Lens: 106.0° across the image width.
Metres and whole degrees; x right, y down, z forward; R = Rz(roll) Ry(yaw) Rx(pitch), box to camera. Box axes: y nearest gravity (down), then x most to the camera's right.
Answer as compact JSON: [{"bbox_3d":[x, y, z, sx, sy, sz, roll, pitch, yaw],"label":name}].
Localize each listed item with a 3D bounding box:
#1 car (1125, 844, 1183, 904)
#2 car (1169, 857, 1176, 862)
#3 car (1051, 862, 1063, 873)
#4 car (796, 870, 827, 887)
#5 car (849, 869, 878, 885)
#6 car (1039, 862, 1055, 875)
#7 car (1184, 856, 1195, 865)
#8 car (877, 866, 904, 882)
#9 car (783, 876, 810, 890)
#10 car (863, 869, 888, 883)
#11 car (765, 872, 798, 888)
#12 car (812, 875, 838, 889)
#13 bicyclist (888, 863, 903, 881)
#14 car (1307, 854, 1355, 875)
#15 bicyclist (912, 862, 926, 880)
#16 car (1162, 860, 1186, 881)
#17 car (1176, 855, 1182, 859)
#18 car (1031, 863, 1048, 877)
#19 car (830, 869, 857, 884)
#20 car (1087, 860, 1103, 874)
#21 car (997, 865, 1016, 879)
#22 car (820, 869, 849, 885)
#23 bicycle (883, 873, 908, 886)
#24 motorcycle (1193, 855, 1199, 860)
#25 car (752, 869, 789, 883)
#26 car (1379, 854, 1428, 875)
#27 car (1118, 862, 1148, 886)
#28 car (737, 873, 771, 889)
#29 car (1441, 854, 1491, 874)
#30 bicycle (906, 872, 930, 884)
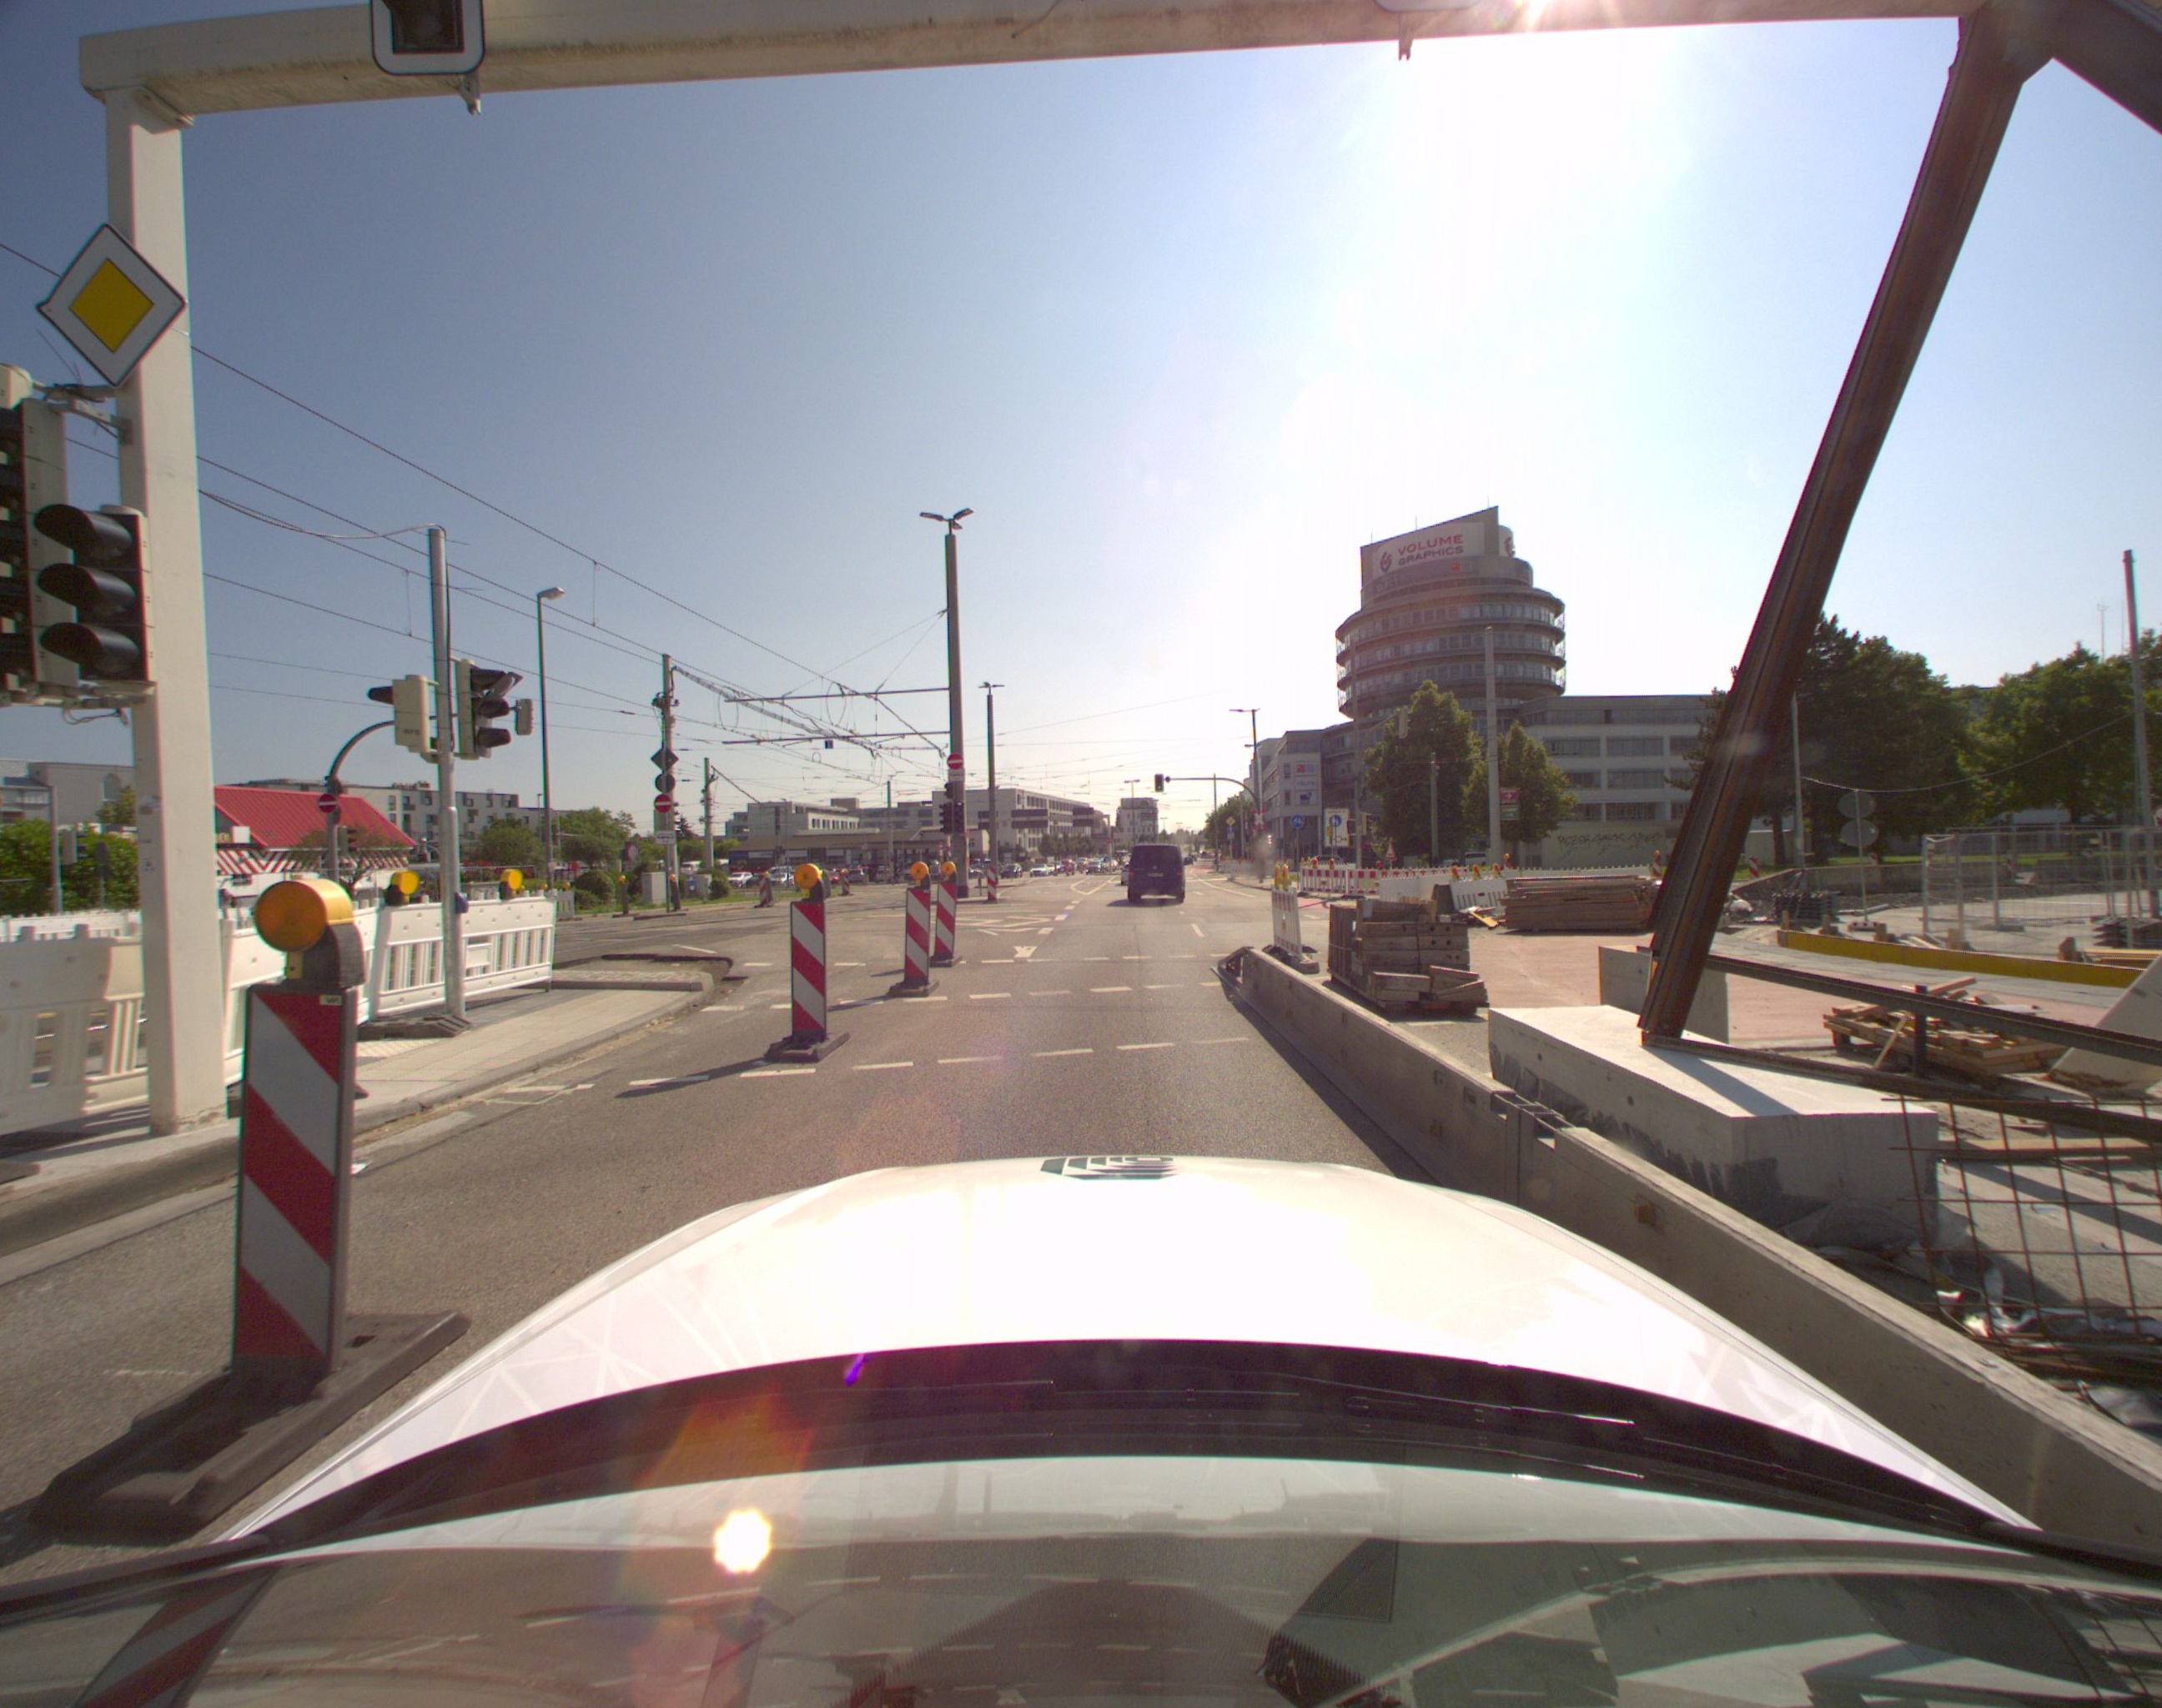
[{"bbox_3d":[2.516,0.631,28.390,1.879,1.934,4.005,0,1,4],"label":"car"},{"bbox_3d":[26.583,1.549,236.411,1.543,1.340,3.015,-1,0,0],"label":"car"},{"bbox_3d":[-3.574,2.043,121.480,1.742,1.486,3.999,-2,0,0],"label":"car"},{"bbox_3d":[-28.985,2.606,87.574,1.771,1.538,4.002,-3,0,2],"label":"car"},{"bbox_3d":[-23.133,2.417,86.684,1.771,1.538,4.002,-3,0,2],"label":"car"},{"bbox_3d":[-4.212,1.826,100.838,1.742,1.486,3.999,-2,0,0],"label":"car"},{"bbox_3d":[19.578,1.175,146.777,1.734,1.475,3.894,-1,0,9],"label":"car"},{"bbox_3d":[-20.581,2.157,88.010,1.770,1.538,4.002,-1,0,2],"label":"car"},{"bbox_3d":[-35.022,3.521,100.412,1.771,1.538,4.002,-3,0,2],"label":"car"},{"bbox_3d":[-24.041,2.525,95.561,1.770,1.538,4.002,-1,0,2],"label":"car"},{"bbox_3d":[-32.066,2.742,87.300,1.771,1.538,4.002,-3,0,2],"label":"car"},{"bbox_3d":[-31.689,3.446,100.906,1.771,1.538,4.002,-3,0,2],"label":"car"},{"bbox_3d":[-16.344,1.568,71.743,0.869,1.579,0.973,3,0,15],"label":"bicyclist"},{"bbox_3d":[22.514,0.917,73.406,3.800,1.797,1.682,0,1,1],"label":"car"},{"bbox_3d":[-14.720,1.520,73.928,0.869,1.579,0.973,3,0,15],"label":"bicyclist"},{"bbox_3d":[7.555,1.299,66.464,1.677,1.606,3.618,0,1,2],"label":"car"},{"bbox_3d":[30.371,0.891,252.173,1.543,1.340,3.015,-1,0,0],"label":"car"},{"bbox_3d":[-4.830,1.860,94.364,1.742,1.481,3.999,-2,0,0],"label":"car"},{"bbox_3d":[-27.865,2.644,95.709,1.771,1.538,4.002,-3,0,2],"label":"car"},{"bbox_3d":[1.551,1.445,92.083,1.742,1.530,3.999,-2,0,0],"label":"car"},{"bbox_3d":[-8.626,2.062,94.560,1.742,1.486,3.999,-2,0,0],"label":"car"},{"bbox_3d":[-26.377,2.445,87.252,1.771,1.538,4.002,-3,0,2],"label":"car"},{"bbox_3d":[-16.359,2.225,71.786,0.874,1.069,2.819,3,0,16],"label":"bicycle"},{"bbox_3d":[27.707,0.770,196.067,1.155,1.242,3.015,-1,0,9],"label":"motorcycle"},{"bbox_3d":[-39.684,2.784,104.117,4.022,1.538,1.762,-3,0,-41],"label":"car"},{"bbox_3d":[29.154,0.952,73.669,3.800,1.797,1.682,0,1,1],"label":"car"},{"bbox_3d":[3.321,1.253,52.590,1.820,1.486,3.903,0,0,2],"label":"car"},{"bbox_3d":[-34.975,2.879,87.175,1.771,1.538,4.002,-3,0,2],"label":"car"},{"bbox_3d":[34.910,0.897,73.887,3.800,1.797,1.682,0,1,1],"label":"car"},{"bbox_3d":[-14.787,2.175,73.818,0.874,1.069,2.819,3,0,16],"label":"bicycle"}]
